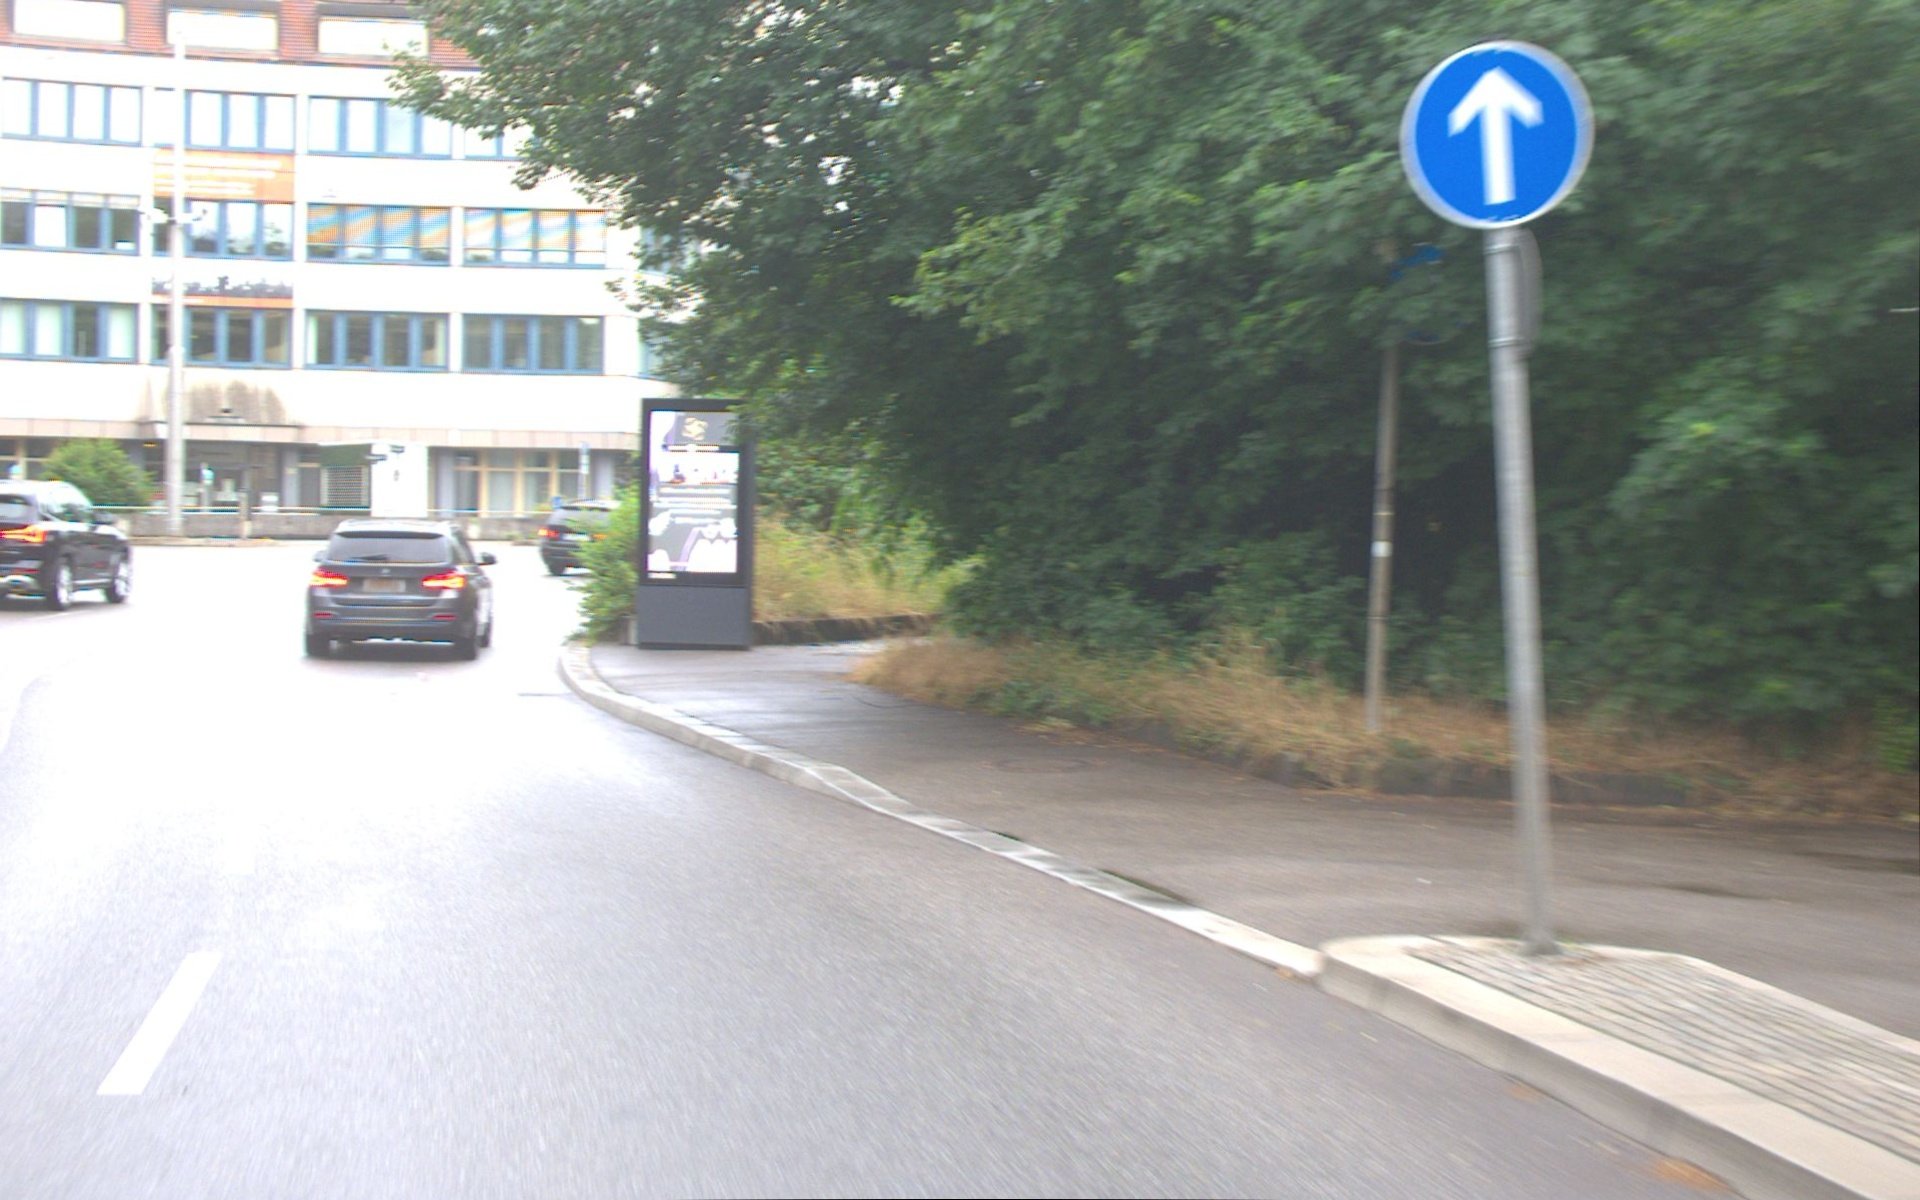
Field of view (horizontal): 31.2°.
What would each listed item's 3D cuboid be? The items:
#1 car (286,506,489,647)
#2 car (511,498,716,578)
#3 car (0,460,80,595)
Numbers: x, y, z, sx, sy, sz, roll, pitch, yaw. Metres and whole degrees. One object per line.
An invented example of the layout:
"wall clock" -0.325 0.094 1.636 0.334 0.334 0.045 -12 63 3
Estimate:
"car" -6.104 -0.270 37.027 1.958 1.421 4.126 0 1 -7
"car" -6.487 -1.183 64.918 1.793 1.421 4.607 2 2 24
"car" -12.590 -0.943 44.921 1.899 1.687 4.001 0 1 -11
